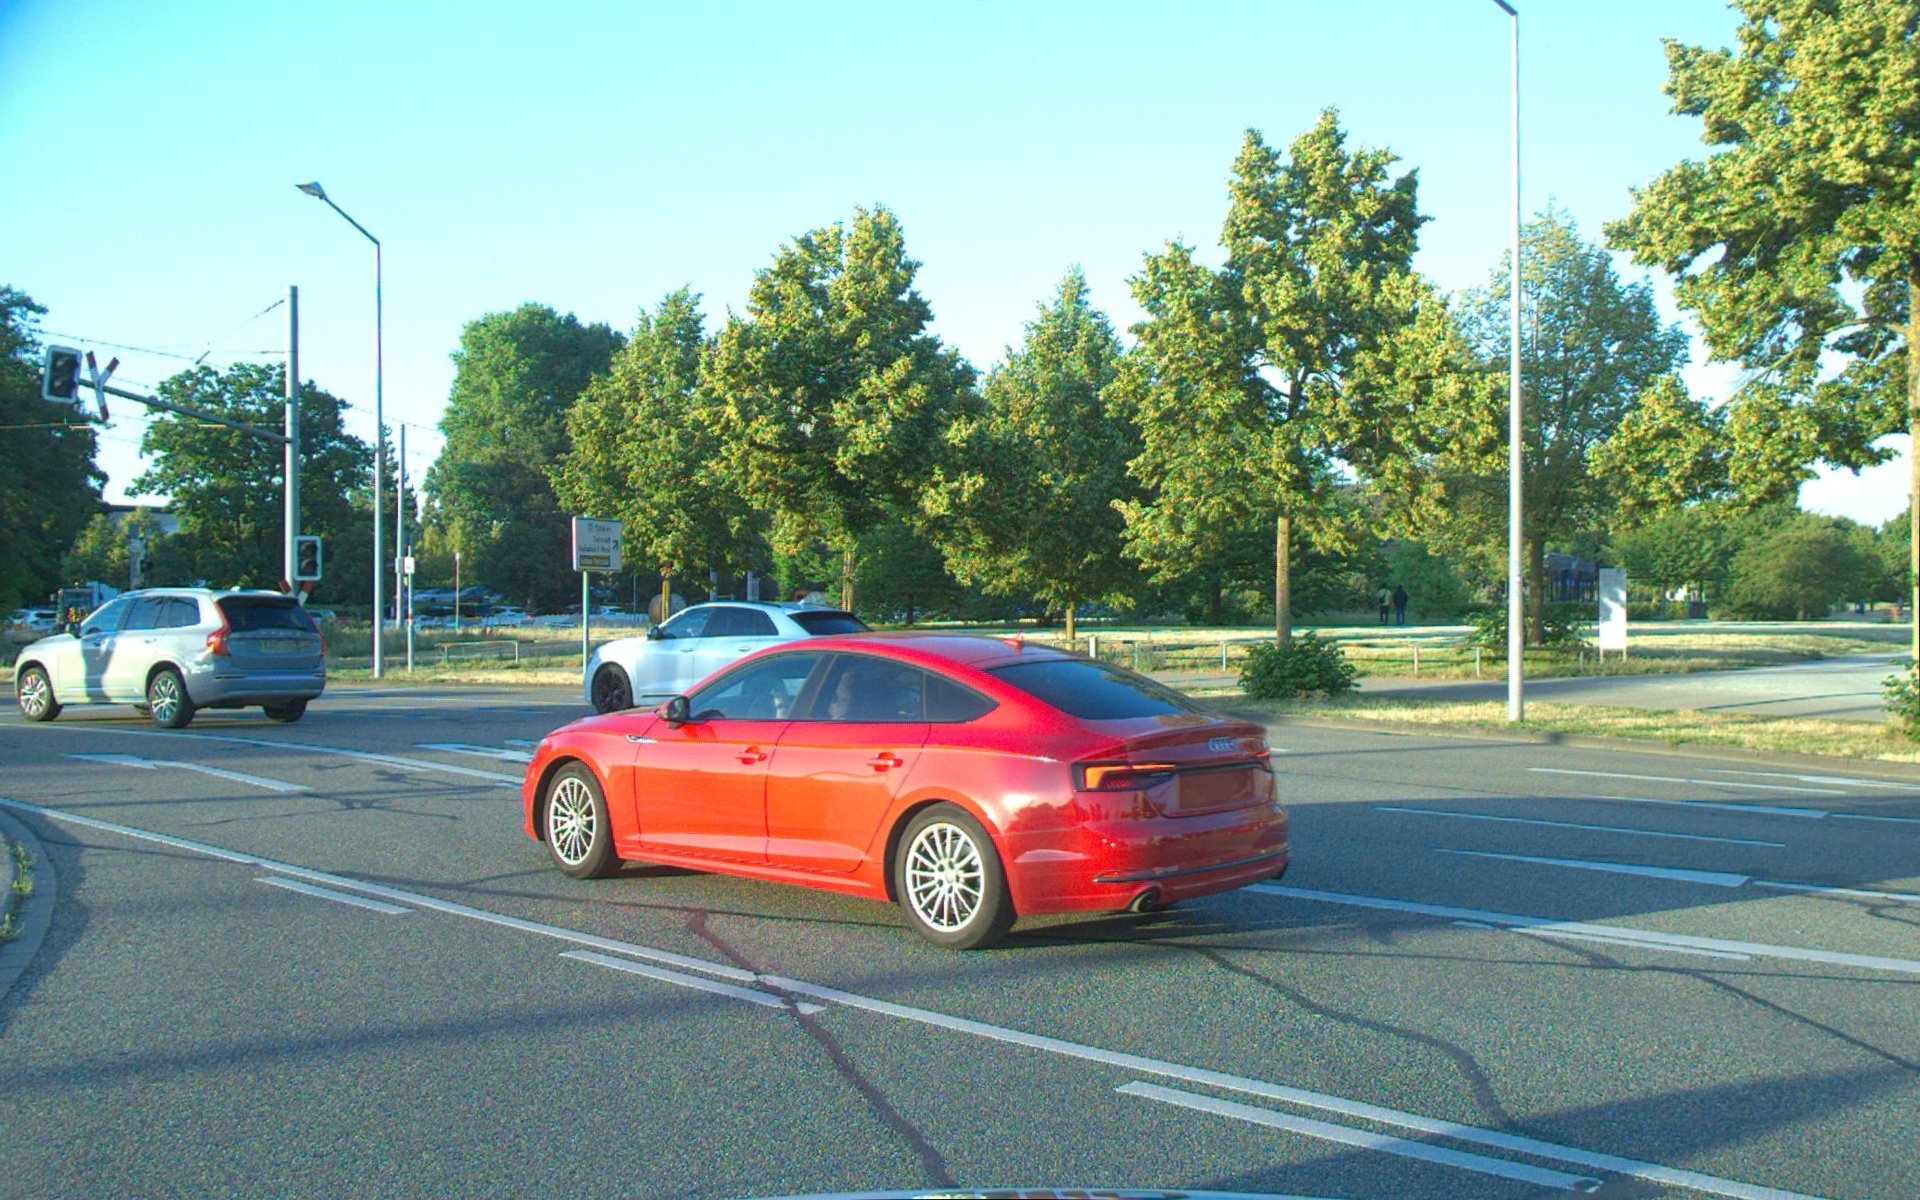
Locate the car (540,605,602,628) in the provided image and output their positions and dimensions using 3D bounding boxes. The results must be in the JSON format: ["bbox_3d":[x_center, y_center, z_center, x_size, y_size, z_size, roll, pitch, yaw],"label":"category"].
[{"bbox_3d":[-26.742,1.113,113.664,3.913,1.578,1.996,0,0,30],"label":"car"}]

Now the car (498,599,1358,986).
[{"bbox_3d":[-0.366,0.770,8.767,4.496,1.486,1.836,1,1,40],"label":"car"}]

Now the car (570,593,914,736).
[{"bbox_3d":[-3.108,0.802,22.991,4.845,1.740,1.905,1,1,38],"label":"car"}]

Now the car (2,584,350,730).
[{"bbox_3d":[-10.625,0.717,22.324,4.815,1.785,1.918,0,-1,31],"label":"car"}]

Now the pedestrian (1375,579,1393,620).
[{"bbox_3d":[17.269,-0.006,67.373,0.522,1.655,0.578,0,0,37],"label":"pedestrian"}]

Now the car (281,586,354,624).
[{"bbox_3d":[-37.301,0.272,96.054,3.914,2.135,1.995,0,0,32],"label":"car"}]

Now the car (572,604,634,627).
[{"bbox_3d":[-24.926,1.089,115.463,3.913,1.578,1.996,0,0,30],"label":"car"}]

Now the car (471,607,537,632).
[{"bbox_3d":[-29.605,1.232,107.454,3.913,1.578,1.996,0,0,30],"label":"car"}]

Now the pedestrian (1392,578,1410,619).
[{"bbox_3d":[17.891,-0.079,67.136,0.519,1.655,0.618,0,0,34],"label":"pedestrian"}]
